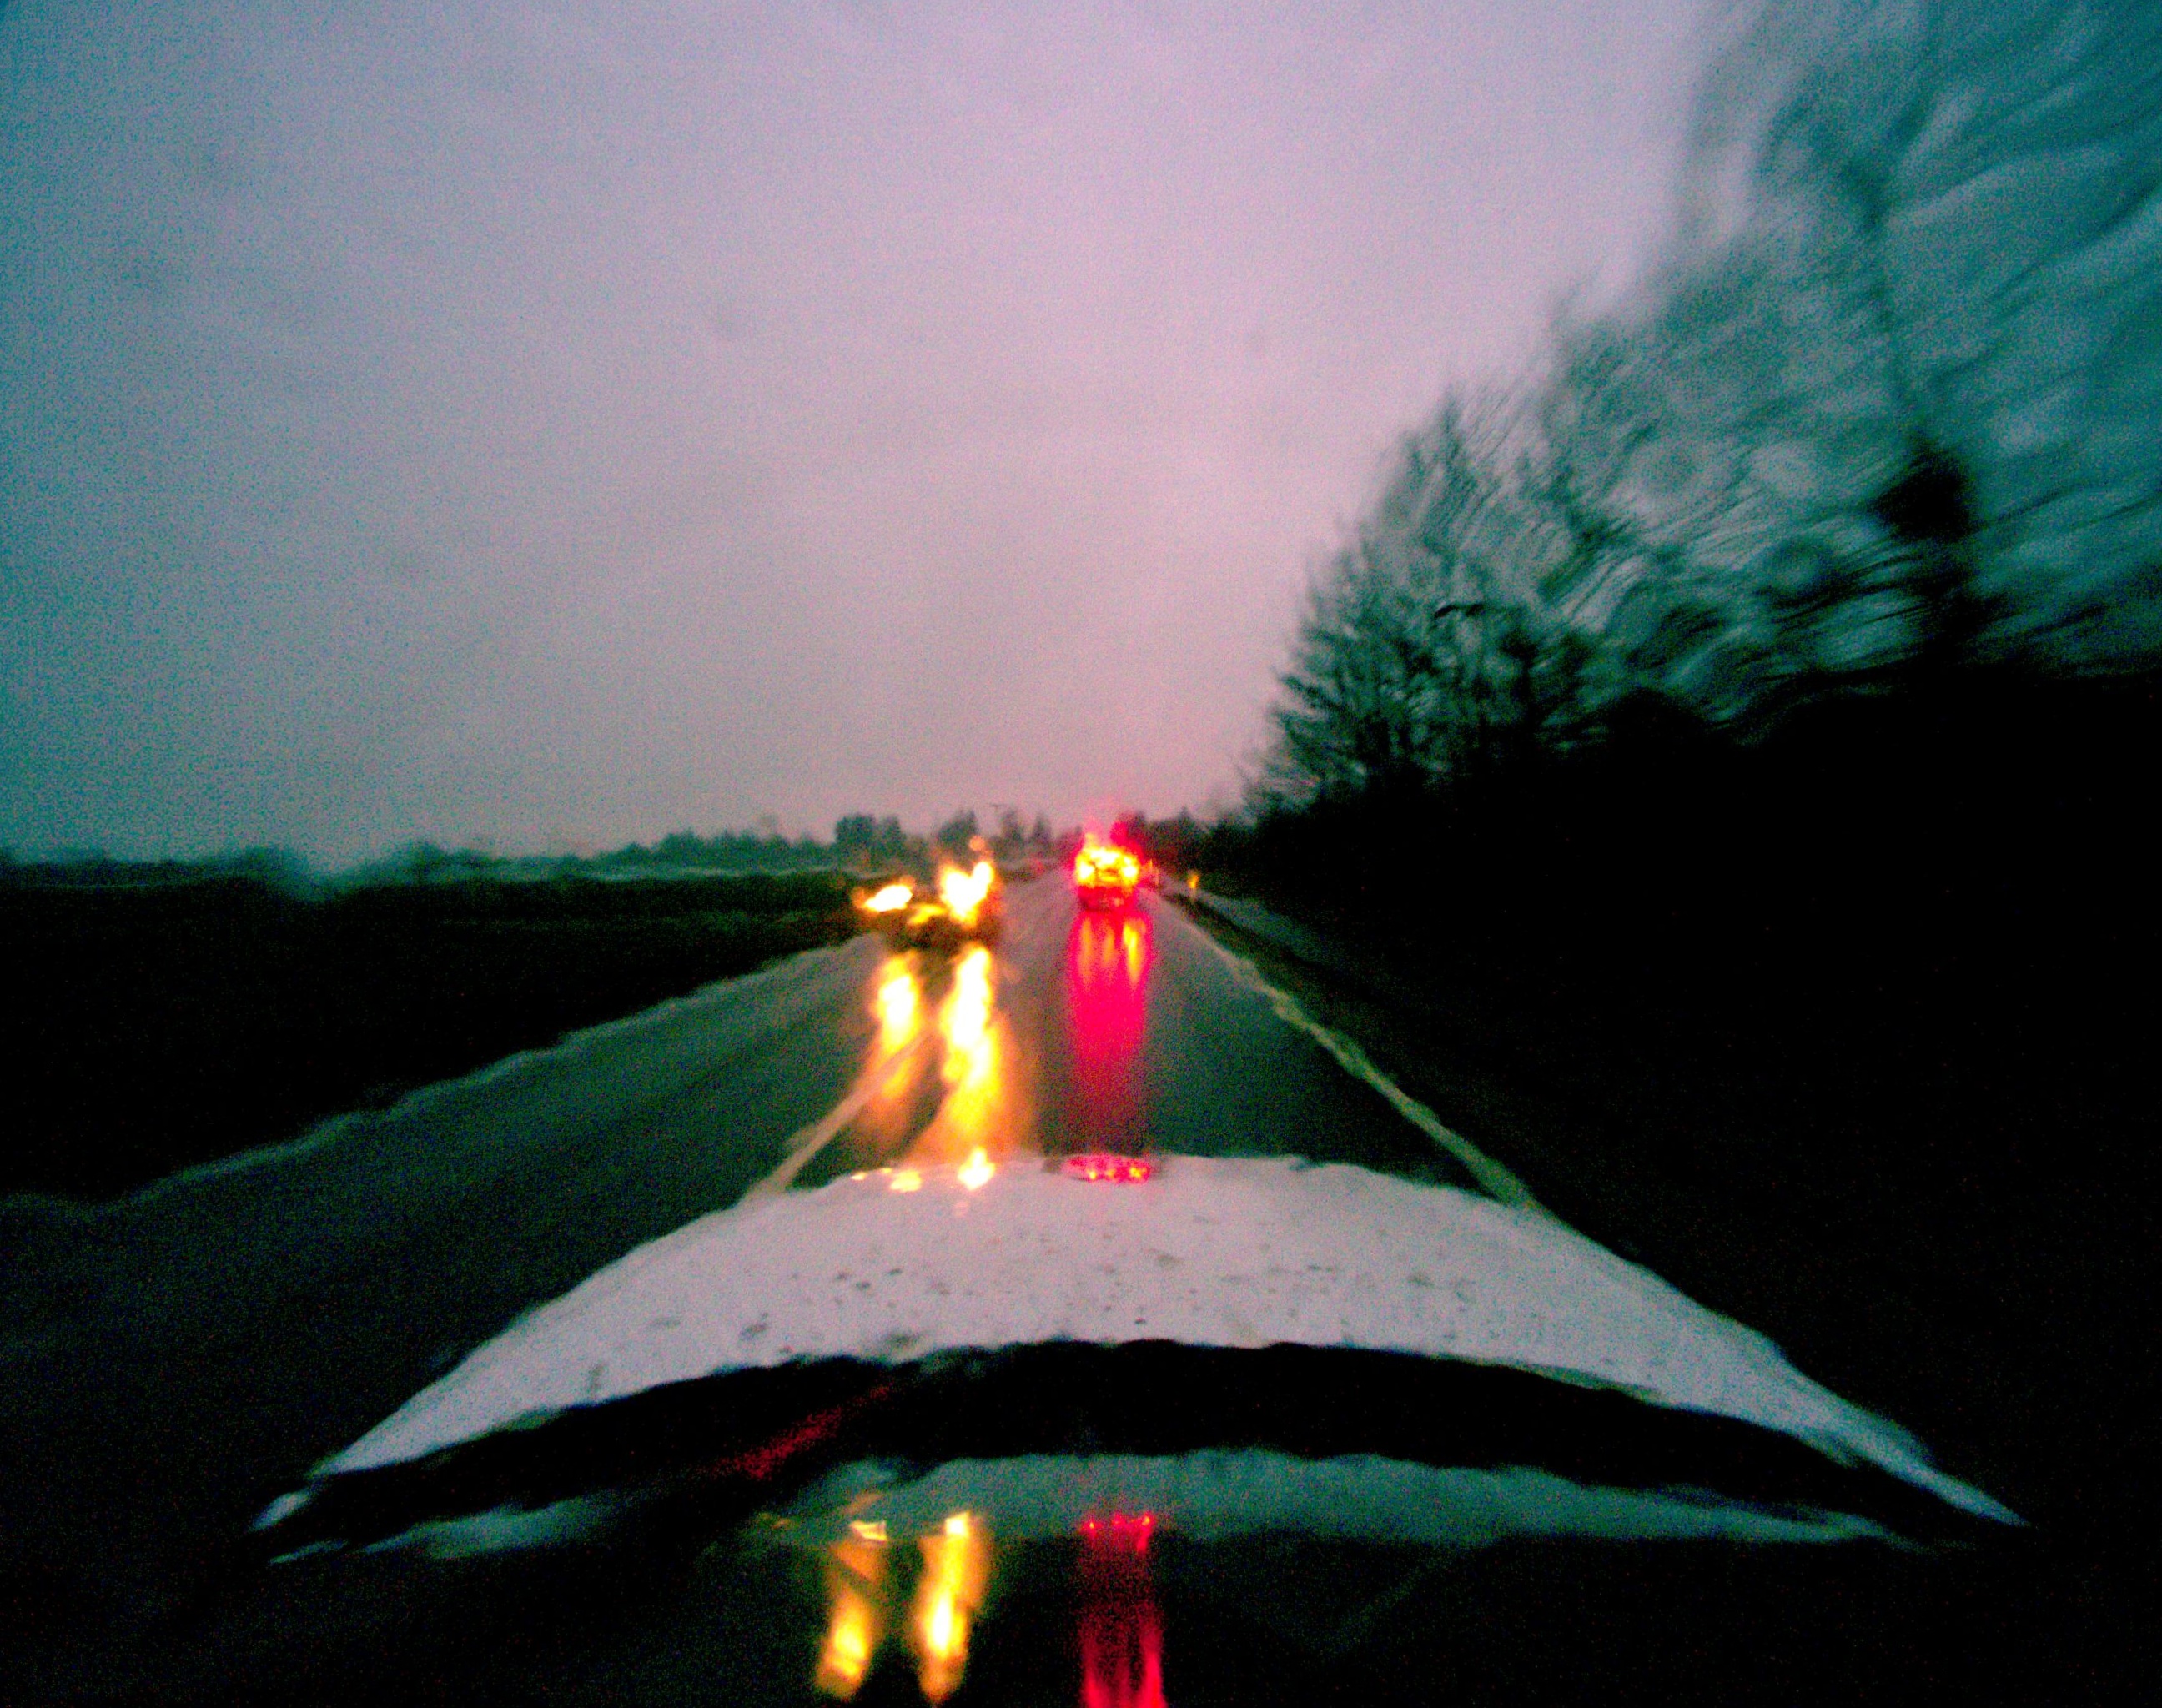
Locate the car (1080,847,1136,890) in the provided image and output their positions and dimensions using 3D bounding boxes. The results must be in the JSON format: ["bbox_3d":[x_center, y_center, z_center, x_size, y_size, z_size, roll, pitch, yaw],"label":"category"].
[{"bbox_3d":[1.464,0.694,43.861,2.745,2.035,6.594,-2,0,2],"label":"car"}]

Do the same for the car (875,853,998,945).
[{"bbox_3d":[-2.933,0.854,17.392,1.833,1.721,3.957,-1,0,1],"label":"car"}]

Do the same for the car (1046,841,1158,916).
[{"bbox_3d":[0.725,0.677,26.776,3.152,2.035,6.855,-2,0,2],"label":"car"}]
